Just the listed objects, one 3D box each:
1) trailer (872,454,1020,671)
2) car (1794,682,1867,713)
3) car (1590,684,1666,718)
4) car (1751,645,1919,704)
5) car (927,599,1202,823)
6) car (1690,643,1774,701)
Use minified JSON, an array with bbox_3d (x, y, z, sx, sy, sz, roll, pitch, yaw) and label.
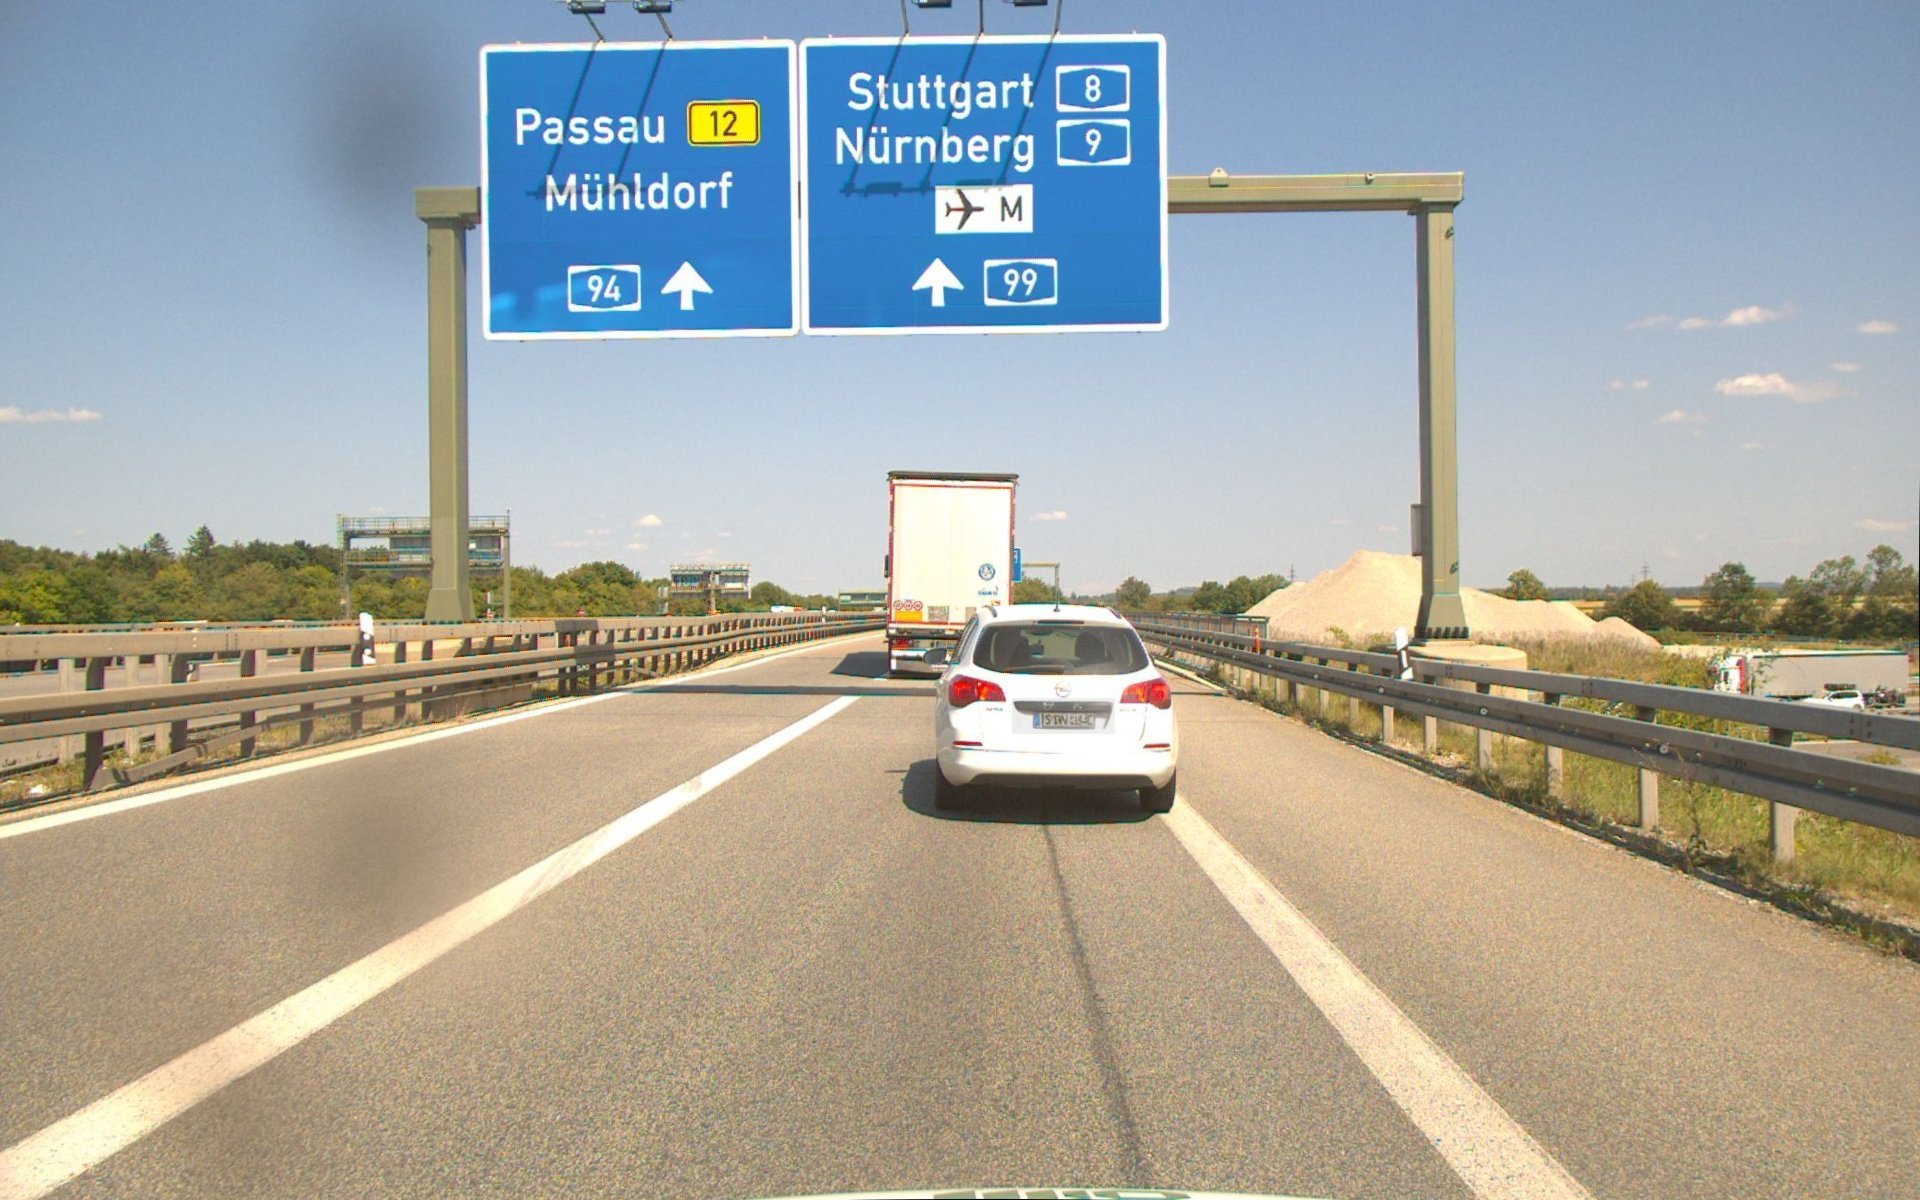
[{"bbox_3d":[-0.233,-0.624,38.173,2.852,4.218,11.256,1,-1,0],"label":"trailer"},{"bbox_3d":[62.409,6.998,118.602,4.313,2.049,1.996,1,-1,-9],"label":"car"},{"bbox_3d":[44.696,6.754,110.730,4.313,2.049,1.996,1,-1,-9],"label":"car"},{"bbox_3d":[65.029,5.500,122.240,12.729,4.033,2.478,1,-1,-9],"label":"car"},{"bbox_3d":[0.736,0.754,13.196,1.816,1.468,4.372,1,0,1],"label":"car"},{"bbox_3d":[56.375,5.269,120.860,5.047,4.033,2.478,1,-1,-9],"label":"car"}]
